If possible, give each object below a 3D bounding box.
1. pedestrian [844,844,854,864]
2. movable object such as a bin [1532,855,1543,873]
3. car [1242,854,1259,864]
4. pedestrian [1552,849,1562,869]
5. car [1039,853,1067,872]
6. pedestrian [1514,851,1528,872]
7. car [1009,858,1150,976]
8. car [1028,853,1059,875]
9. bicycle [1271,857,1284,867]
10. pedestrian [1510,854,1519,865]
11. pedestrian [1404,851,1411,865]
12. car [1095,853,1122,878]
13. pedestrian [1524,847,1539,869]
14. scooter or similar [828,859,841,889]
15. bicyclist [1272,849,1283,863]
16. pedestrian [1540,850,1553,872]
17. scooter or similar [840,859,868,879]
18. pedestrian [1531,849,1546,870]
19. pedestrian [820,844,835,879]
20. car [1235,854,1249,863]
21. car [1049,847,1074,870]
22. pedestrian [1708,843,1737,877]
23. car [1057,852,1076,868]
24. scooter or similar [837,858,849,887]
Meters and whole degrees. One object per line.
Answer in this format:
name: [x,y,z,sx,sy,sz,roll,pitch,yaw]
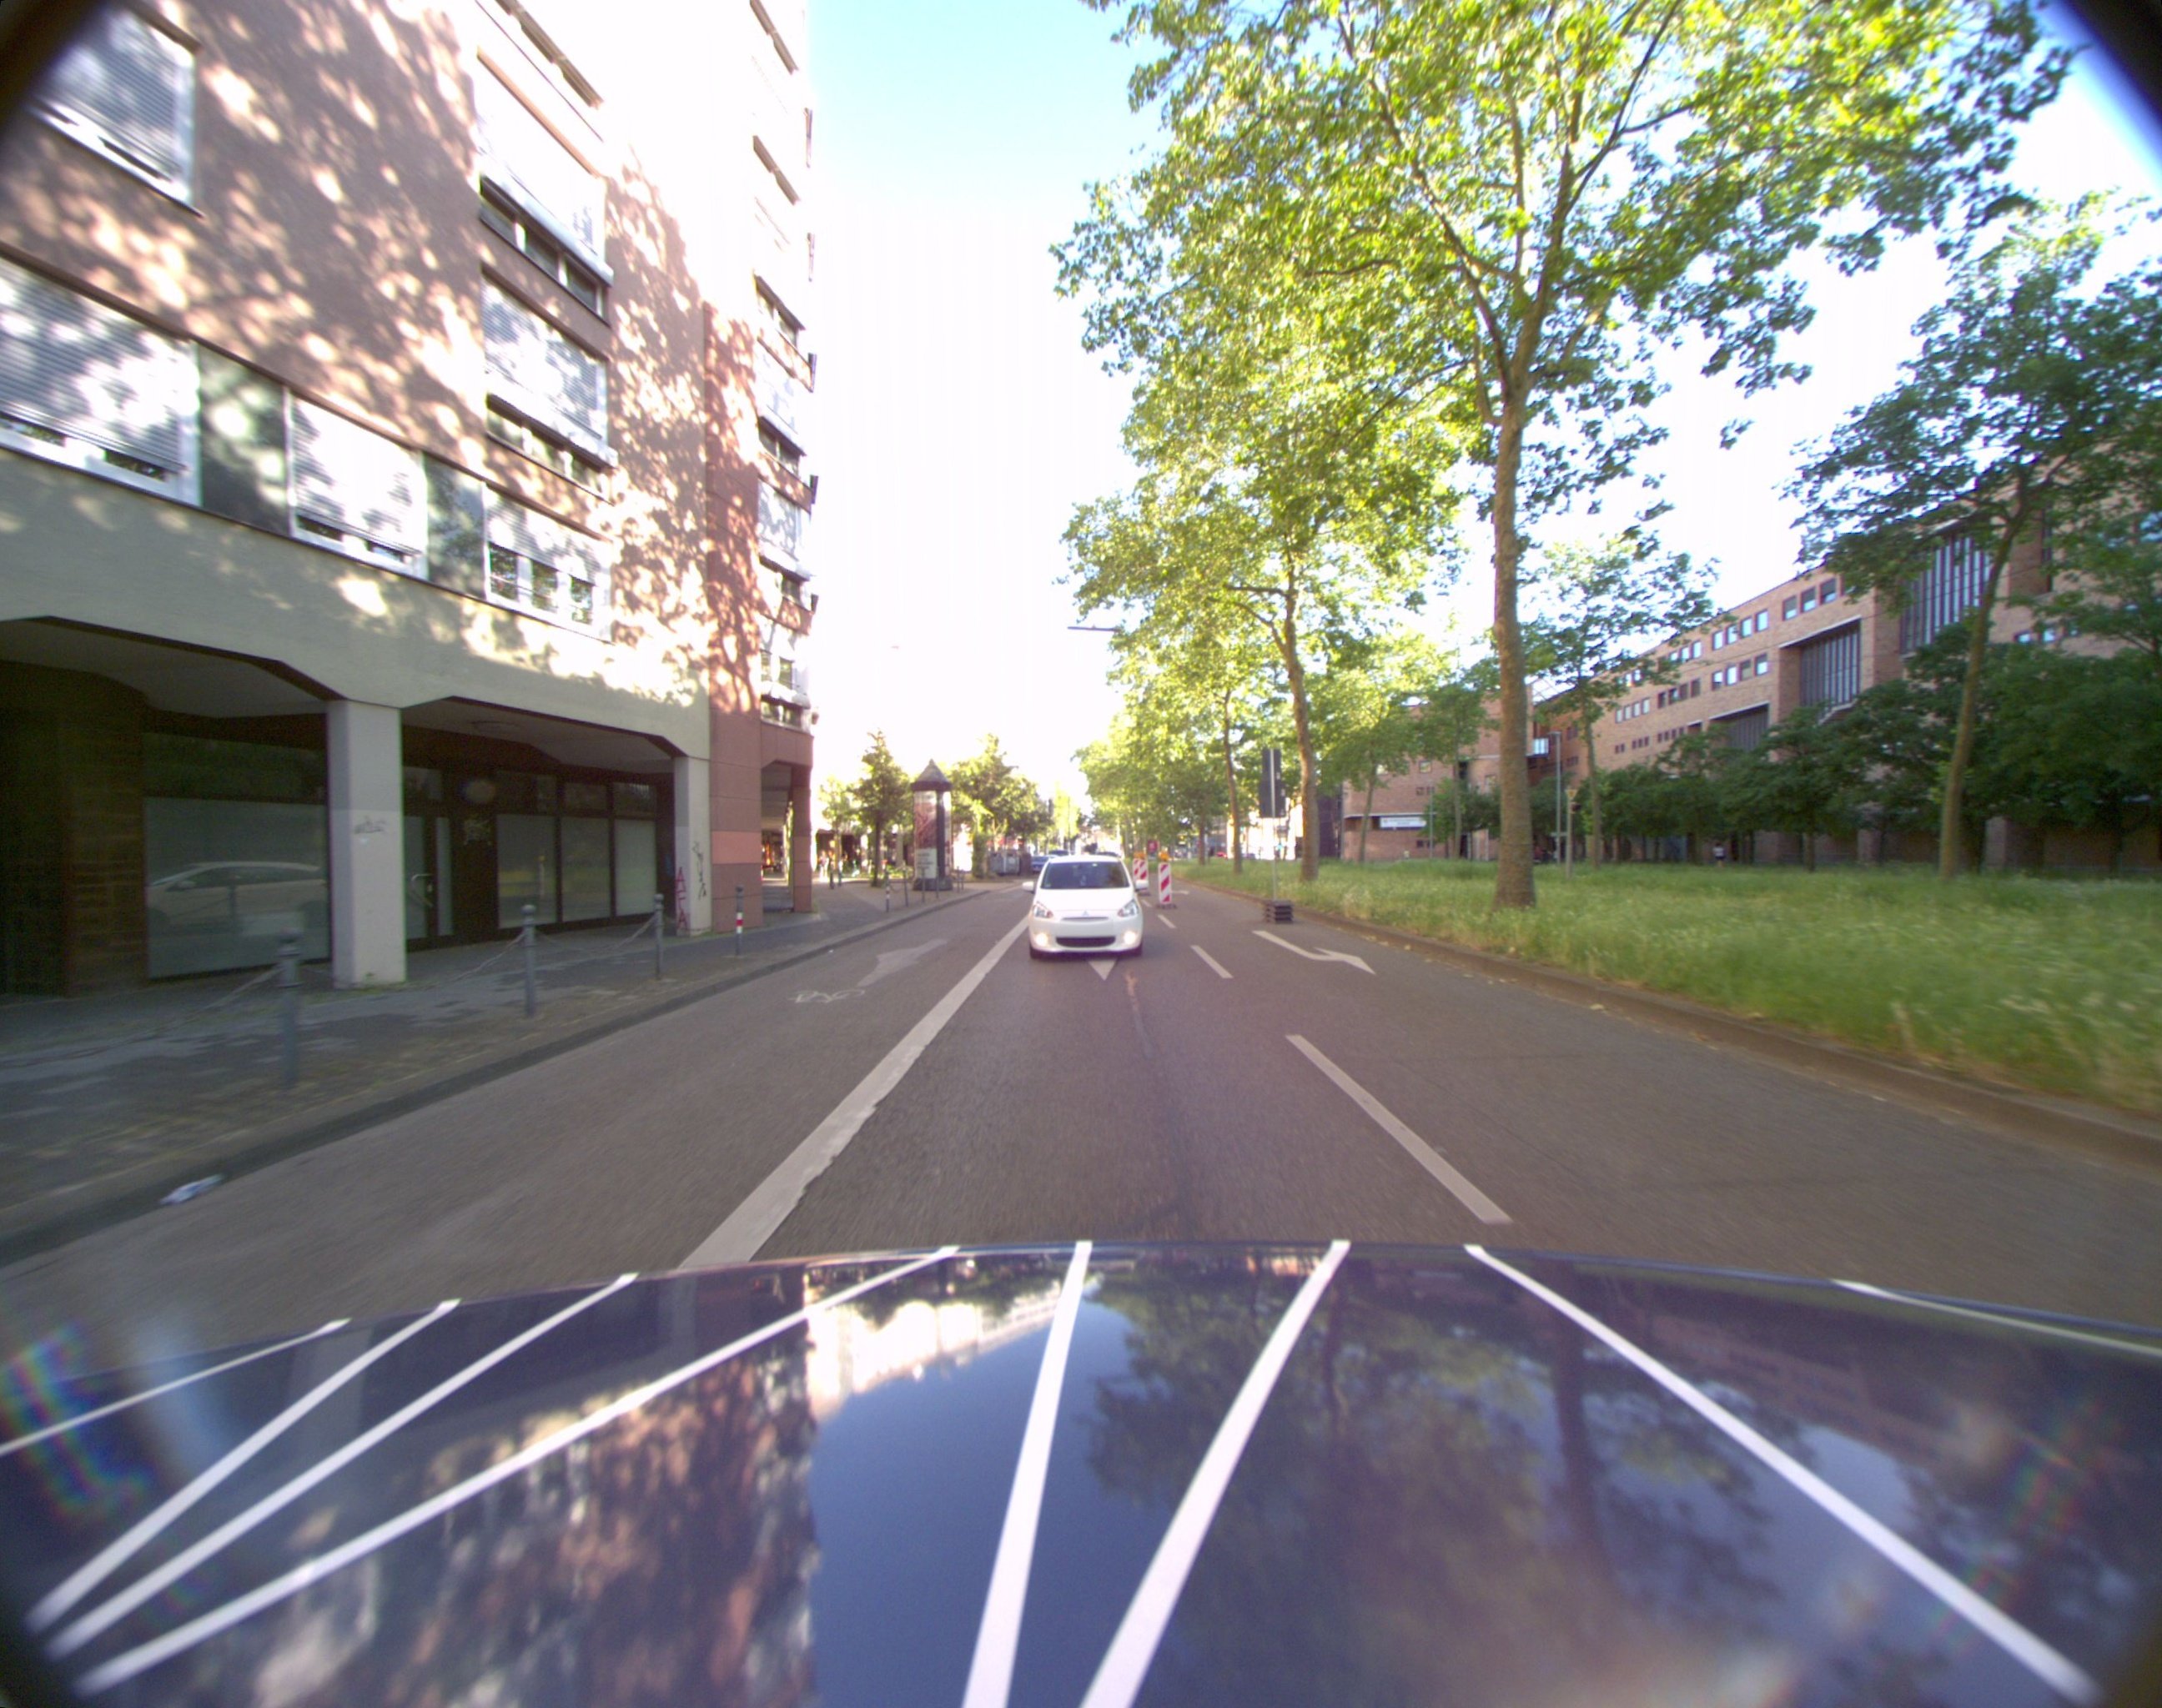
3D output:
pedestrian: [-21.442,-0.029,70.247,0.622,1.859,0.708,-1,1,-3]
movable object such as a bin: [34.227,0.748,56.996,0.356,1.271,0.756,0,1,1]
car: [25.927,0.757,116.200,1.675,1.420,4.150,0,0,0]
pedestrian: [35.995,0.387,57.504,0.484,1.496,0.463,0,1,6]
car: [-2.231,0.631,60.828,1.705,1.457,4.177,1,0,5]
pedestrian: [34.314,0.592,59.305,0.665,1.607,0.756,0,1,1]
car: [0.177,0.832,11.986,1.720,1.442,4.426,-3,0,6]
car: [-2.703,0.690,54.975,1.705,1.475,4.250,1,0,4]
bicycle: [23.247,0.950,89.828,0.959,1.119,2.436,0,1,2]
pedestrian: [46.436,0.563,81.386,0.666,1.191,0.630,0,1,-8]
pedestrian: [35.050,0.438,81.520,0.417,1.535,0.653,0,1,0]
car: [1.892,0.746,52.796,1.824,1.630,4.000,-1,0,2]
pedestrian: [34.266,0.306,57.782,0.665,1.712,0.796,0,1,1]
scooter or similar: [-10.251,0.815,31.644,0.486,1.209,1.448,-1,1,-18]
bicyclist: [23.230,0.216,89.877,0.943,1.562,1.209,0,0,2]
pedestrian: [35.501,0.506,57.939,0.612,1.670,0.596,0,1,0]
scooter or similar: [-13.475,0.871,45.100,1.457,1.139,0.559,-1,1,7]
pedestrian: [34.883,0.430,57.935,0.665,1.607,0.756,0,1,1]
pedestrian: [-14.332,0.429,42.975,0.642,1.970,0.774,-1,1,-30]
car: [25.908,0.639,122.090,1.617,1.420,3.221,0,0,0]
car: [-1.702,0.362,67.825,2.043,1.932,5.197,2,0,0]
pedestrian: [35.051,0.313,41.534,0.827,1.821,0.900,-1,1,-15]
car: [-1.583,0.667,85.474,1.802,1.714,4.461,2,0,2]
scooter or similar: [-10.708,0.811,34.117,0.486,1.267,1.448,-1,1,-18]
